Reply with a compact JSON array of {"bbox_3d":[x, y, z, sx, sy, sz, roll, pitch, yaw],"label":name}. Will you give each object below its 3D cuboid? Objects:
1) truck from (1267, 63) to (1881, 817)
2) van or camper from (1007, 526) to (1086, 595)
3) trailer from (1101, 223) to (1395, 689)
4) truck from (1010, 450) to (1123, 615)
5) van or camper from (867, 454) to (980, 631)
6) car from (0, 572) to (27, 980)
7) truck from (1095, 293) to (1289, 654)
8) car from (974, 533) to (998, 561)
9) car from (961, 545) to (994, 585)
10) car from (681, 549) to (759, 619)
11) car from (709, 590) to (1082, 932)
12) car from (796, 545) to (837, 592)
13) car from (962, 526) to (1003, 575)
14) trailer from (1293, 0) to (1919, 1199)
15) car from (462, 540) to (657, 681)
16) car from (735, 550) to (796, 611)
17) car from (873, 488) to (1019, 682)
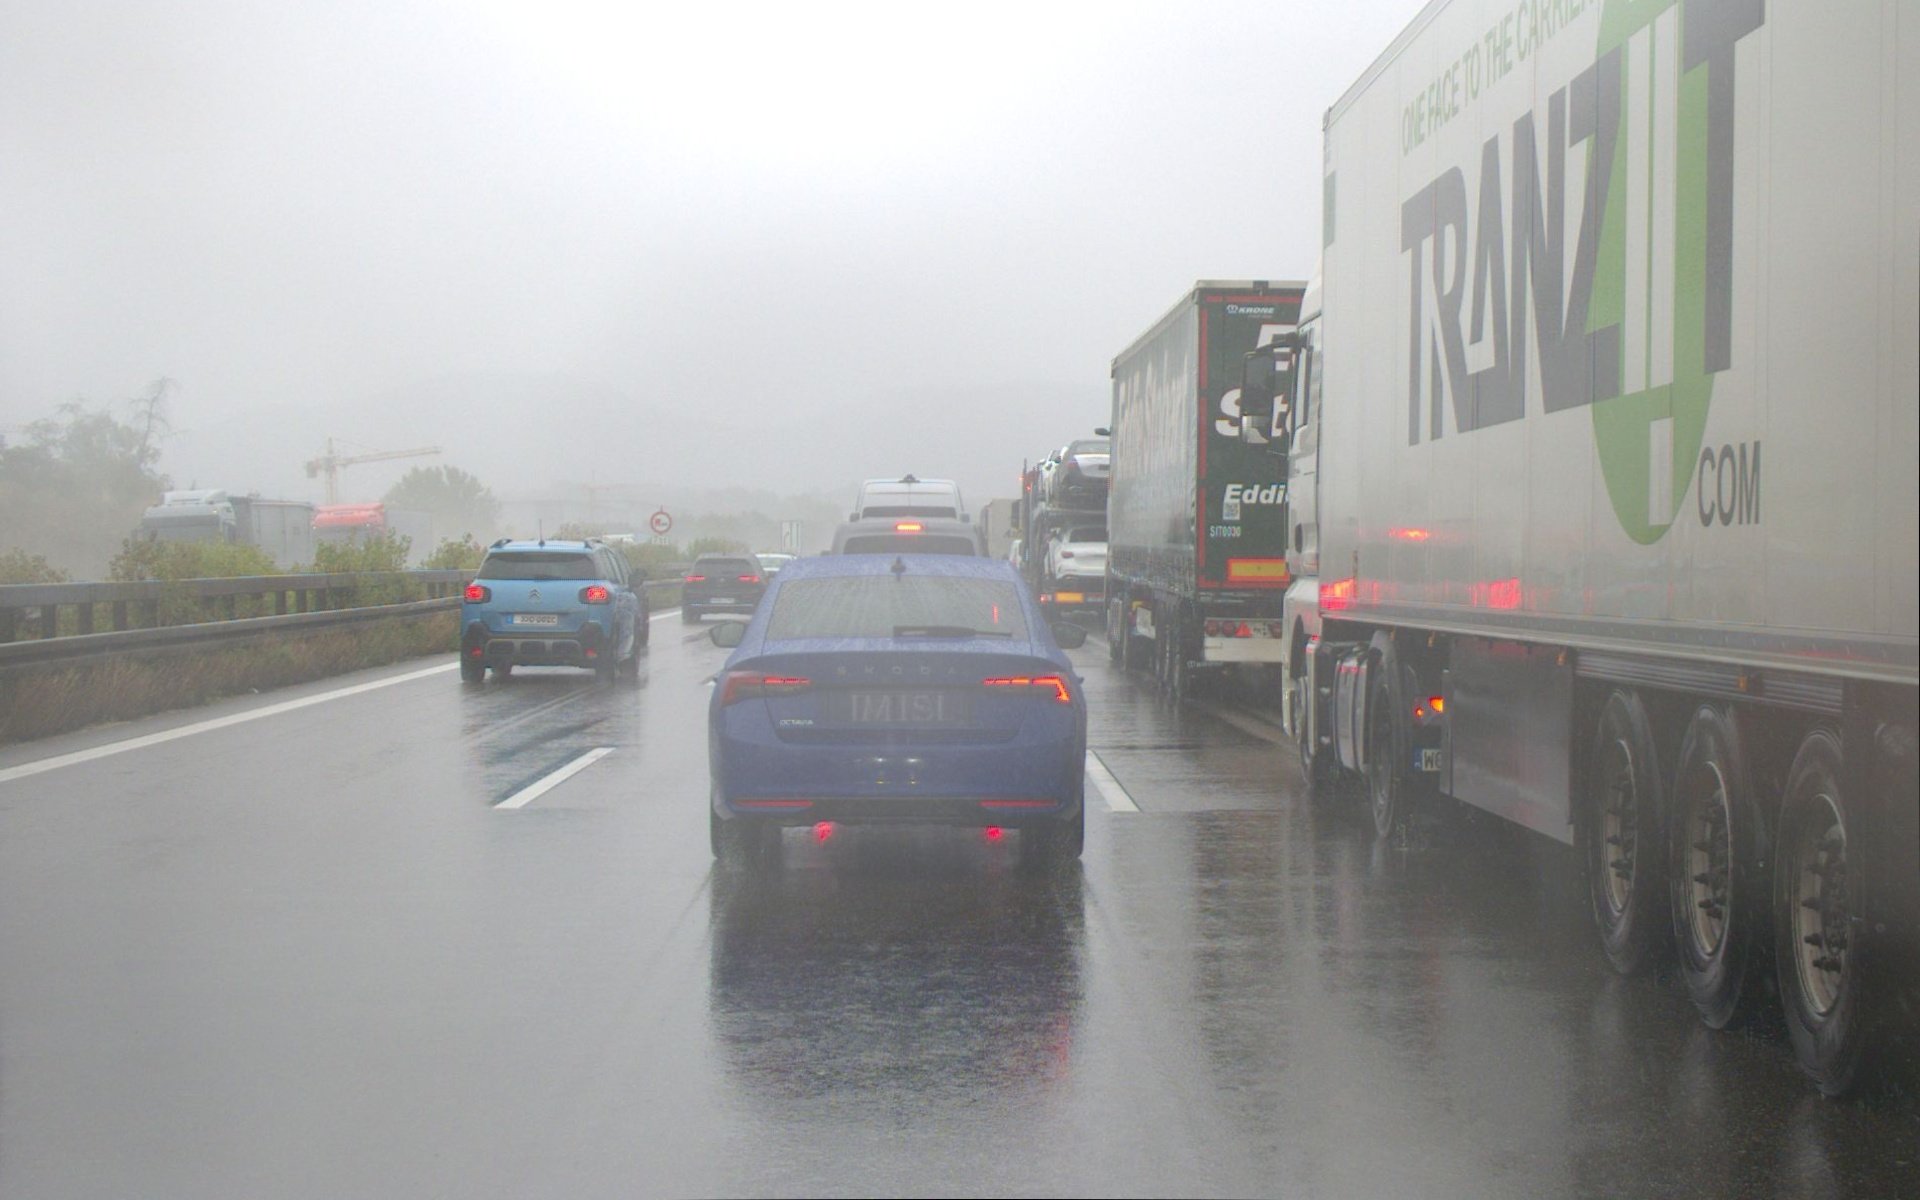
[{"bbox_3d":[3.323,-0.860,19.815,2.630,3.814,4.791,0,1,0],"label":"truck"},{"bbox_3d":[2.108,-0.992,84.820,1.771,1.619,4.484,0,2,-1],"label":"van or camper"},{"bbox_3d":[2.812,-1.415,36.472,2.047,4.162,11.449,0,1,0],"label":"trailer"},{"bbox_3d":[2.267,-1.512,75.246,1.993,3.410,8.033,0,2,-2],"label":"truck"},{"bbox_3d":[-0.598,-0.962,56.862,1.797,2.797,4.768,0,1,0],"label":"van or camper"},{"bbox_3d":[-4.128,0.635,9.979,1.718,1.395,4.230,0,1,0],"label":"car"},{"bbox_3d":[2.770,-1.512,41.913,2.047,4.178,4.000,0,1,0],"label":"truck"},{"bbox_3d":[1.636,-3.363,218.791,1.448,1.777,3.409,1,1,0],"label":"car"},{"bbox_3d":[0.704,-1.419,139.224,1.248,1.507,3.108,-1,2,-1],"label":"car"},{"bbox_3d":[-5.042,-0.362,72.466,1.439,1.415,3.322,0,1,0],"label":"car"},{"bbox_3d":[-0.275,0.699,17.069,1.635,1.440,4.000,0,1,0],"label":"car"},{"bbox_3d":[-5.523,-1.241,132.787,1.448,1.777,3.409,1,1,0],"label":"car"},{"bbox_3d":[0.817,-1.813,126.917,1.448,1.777,3.409,1,1,0],"label":"car"},{"bbox_3d":[3.380,-0.806,13.335,2.630,3.999,14.630,0,1,0],"label":"trailer"},{"bbox_3d":[-4.519,0.081,39.245,1.722,1.518,4.000,0,1,1],"label":"car"},{"bbox_3d":[-5.051,-0.530,89.647,1.439,1.528,3.322,0,1,0],"label":"car"},{"bbox_3d":[-0.140,-0.175,33.144,1.336,1.773,3.322,0,1,0],"label":"car"}]
